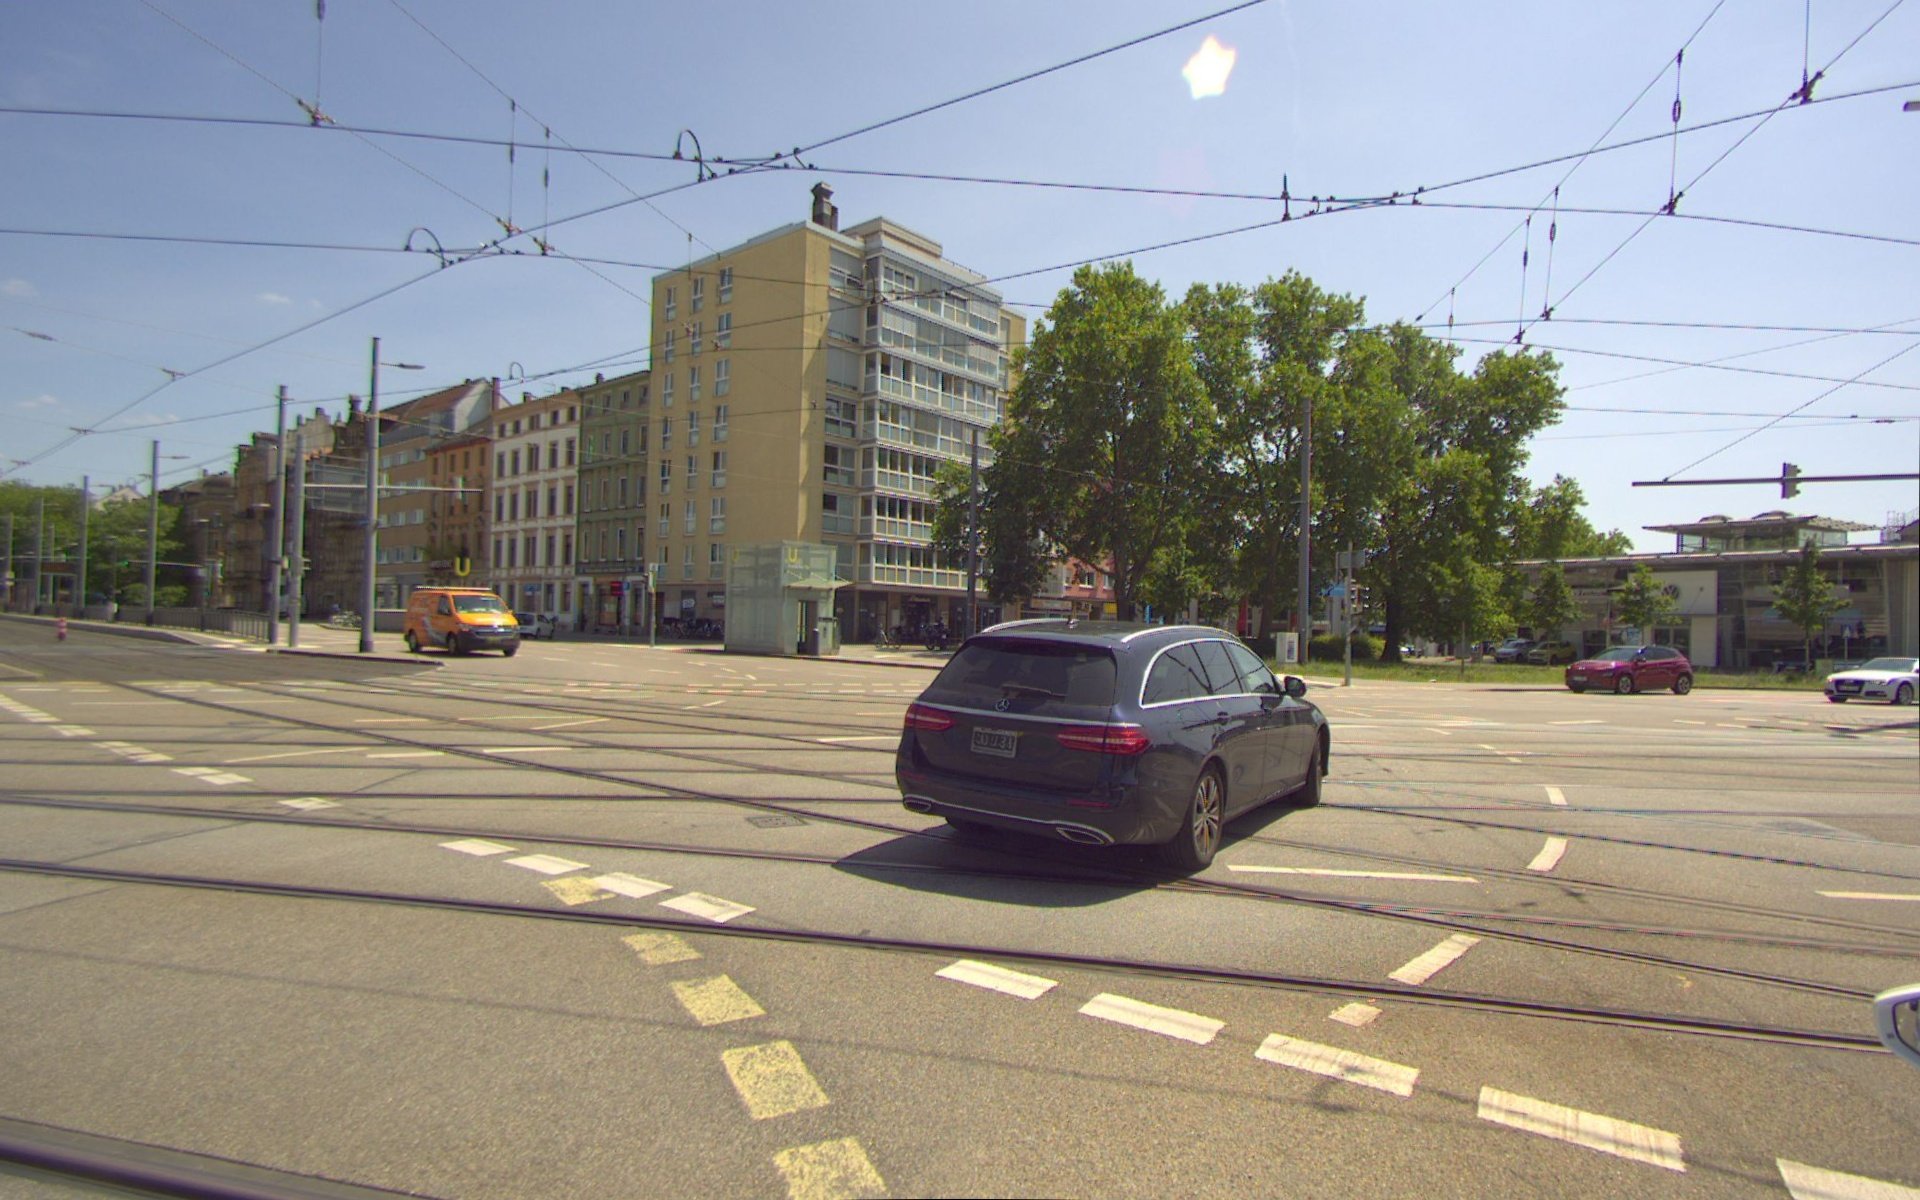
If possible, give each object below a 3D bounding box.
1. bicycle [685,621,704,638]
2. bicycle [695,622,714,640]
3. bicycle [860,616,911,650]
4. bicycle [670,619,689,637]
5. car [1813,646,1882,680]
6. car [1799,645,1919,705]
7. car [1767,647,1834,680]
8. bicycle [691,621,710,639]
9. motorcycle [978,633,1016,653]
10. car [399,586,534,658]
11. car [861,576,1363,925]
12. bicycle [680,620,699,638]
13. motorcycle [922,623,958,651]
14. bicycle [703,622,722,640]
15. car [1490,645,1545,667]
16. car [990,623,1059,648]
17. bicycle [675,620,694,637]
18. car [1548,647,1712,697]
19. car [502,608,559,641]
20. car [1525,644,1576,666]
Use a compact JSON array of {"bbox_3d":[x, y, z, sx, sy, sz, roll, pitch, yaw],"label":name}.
[{"bbox_3d":[-15.839,1.763,59.951,0.424,1.040,1.445,1,-1,14],"label":"bicycle"},{"bbox_3d":[-15.055,1.811,59.290,0.424,1.040,1.445,1,-1,14],"label":"bicycle"},{"bbox_3d":[-4.134,1.801,55.518,2.848,1.790,1.095,1,-1,41],"label":"bicycle"},{"bbox_3d":[-17.010,1.692,60.987,0.424,1.040,1.445,1,-1,14],"label":"bicycle"},{"bbox_3d":[51.343,3.640,58.095,3.956,1.729,1.910,4,0,-32],"label":"car"},{"bbox_3d":[27.356,2.196,29.446,4.771,1.601,2.075,2,-1,-19],"label":"car"},{"bbox_3d":[50.247,3.777,60.040,3.956,1.729,1.910,4,0,-32],"label":"car"},{"bbox_3d":[-15.386,1.791,59.673,0.424,1.040,1.445,1,-1,14],"label":"bicycle"},{"bbox_3d":[1.883,2.183,51.351,1.885,0.974,0.525,1,-1,28],"label":"motorcycle"},{"bbox_3d":[-15.408,0.655,31.250,4.799,2.084,1.990,1,-2,41],"label":"car"},{"bbox_3d":[1.497,0.793,7.410,1.773,1.662,4.792,3,0,33],"label":"car"},{"bbox_3d":[-16.212,1.740,60.244,0.424,1.040,1.445,1,-1,14],"label":"bicycle"},{"bbox_3d":[-0.958,1.690,46.518,0.949,1.238,2.802,2,-1,-17],"label":"motorcycle"},{"bbox_3d":[-14.528,1.844,59.052,0.424,1.040,1.445,1,-1,14],"label":"bicycle"},{"bbox_3d":[42.278,4.232,76.127,4.279,1.530,1.758,3,-2,-32],"label":"car"},{"bbox_3d":[4.098,2.266,63.866,3.932,1.439,1.995,1,-1,34],"label":"car"},{"bbox_3d":[-16.655,1.713,60.662,0.424,1.040,1.445,1,-1,14],"label":"bicycle"},{"bbox_3d":[22.021,2.366,33.031,4.771,1.484,1.992,2,-1,-19],"label":"car"},{"bbox_3d":[-24.287,1.382,56.908,1.804,1.773,3.996,2,-1,-6],"label":"car"},{"bbox_3d":[43.294,4.041,73.613,4.287,1.530,1.754,3,-2,-37],"label":"car"}]
